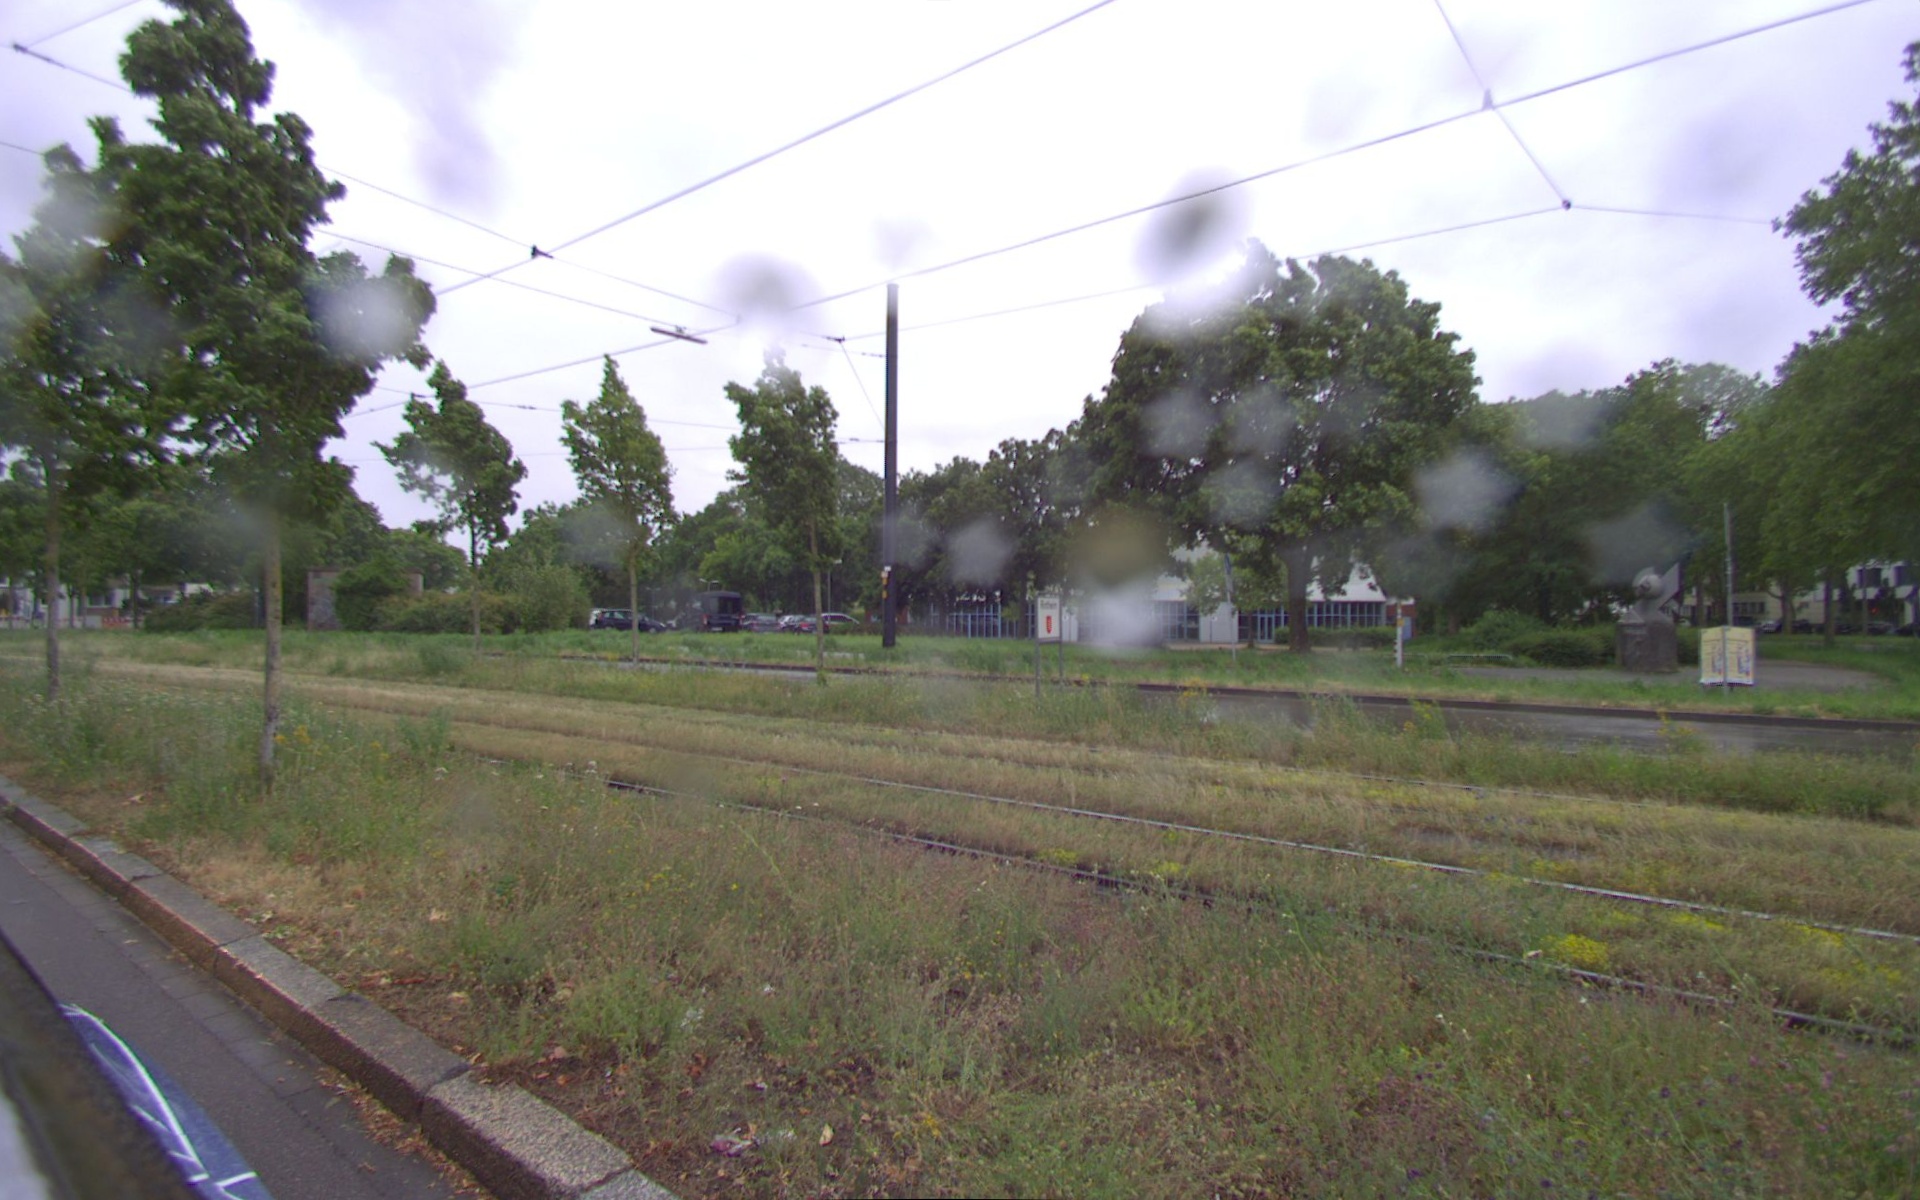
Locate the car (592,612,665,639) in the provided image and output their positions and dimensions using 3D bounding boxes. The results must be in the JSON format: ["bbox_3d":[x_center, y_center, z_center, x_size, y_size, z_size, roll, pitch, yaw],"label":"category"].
[{"bbox_3d":[-20.321,1.543,61.955,4.110,1.494,1.789,-1,0,-23],"label":"car"}]

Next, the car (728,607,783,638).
[{"bbox_3d":[-10.905,1.152,53.709,1.726,1.542,4.865,-1,0,-25],"label":"car"}]

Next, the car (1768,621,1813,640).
[{"bbox_3d":[82.989,3.027,101.153,1.982,1.796,3.979,-1,0,16],"label":"car"}]

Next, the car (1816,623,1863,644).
[{"bbox_3d":[81.668,3.106,94.055,1.986,1.796,3.972,-1,0,21],"label":"car"}]

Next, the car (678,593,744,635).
[{"bbox_3d":[-12.822,0.704,51.936,2.273,2.029,5.134,-1,0,-25],"label":"car"}]

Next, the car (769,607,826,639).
[{"bbox_3d":[-8.802,1.181,54.415,2.026,1.584,5.032,-1,0,-21],"label":"car"}]

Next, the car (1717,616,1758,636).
[{"bbox_3d":[86.347,2.835,112.487,2.108,2.104,3.982,-1,0,14],"label":"car"}]
